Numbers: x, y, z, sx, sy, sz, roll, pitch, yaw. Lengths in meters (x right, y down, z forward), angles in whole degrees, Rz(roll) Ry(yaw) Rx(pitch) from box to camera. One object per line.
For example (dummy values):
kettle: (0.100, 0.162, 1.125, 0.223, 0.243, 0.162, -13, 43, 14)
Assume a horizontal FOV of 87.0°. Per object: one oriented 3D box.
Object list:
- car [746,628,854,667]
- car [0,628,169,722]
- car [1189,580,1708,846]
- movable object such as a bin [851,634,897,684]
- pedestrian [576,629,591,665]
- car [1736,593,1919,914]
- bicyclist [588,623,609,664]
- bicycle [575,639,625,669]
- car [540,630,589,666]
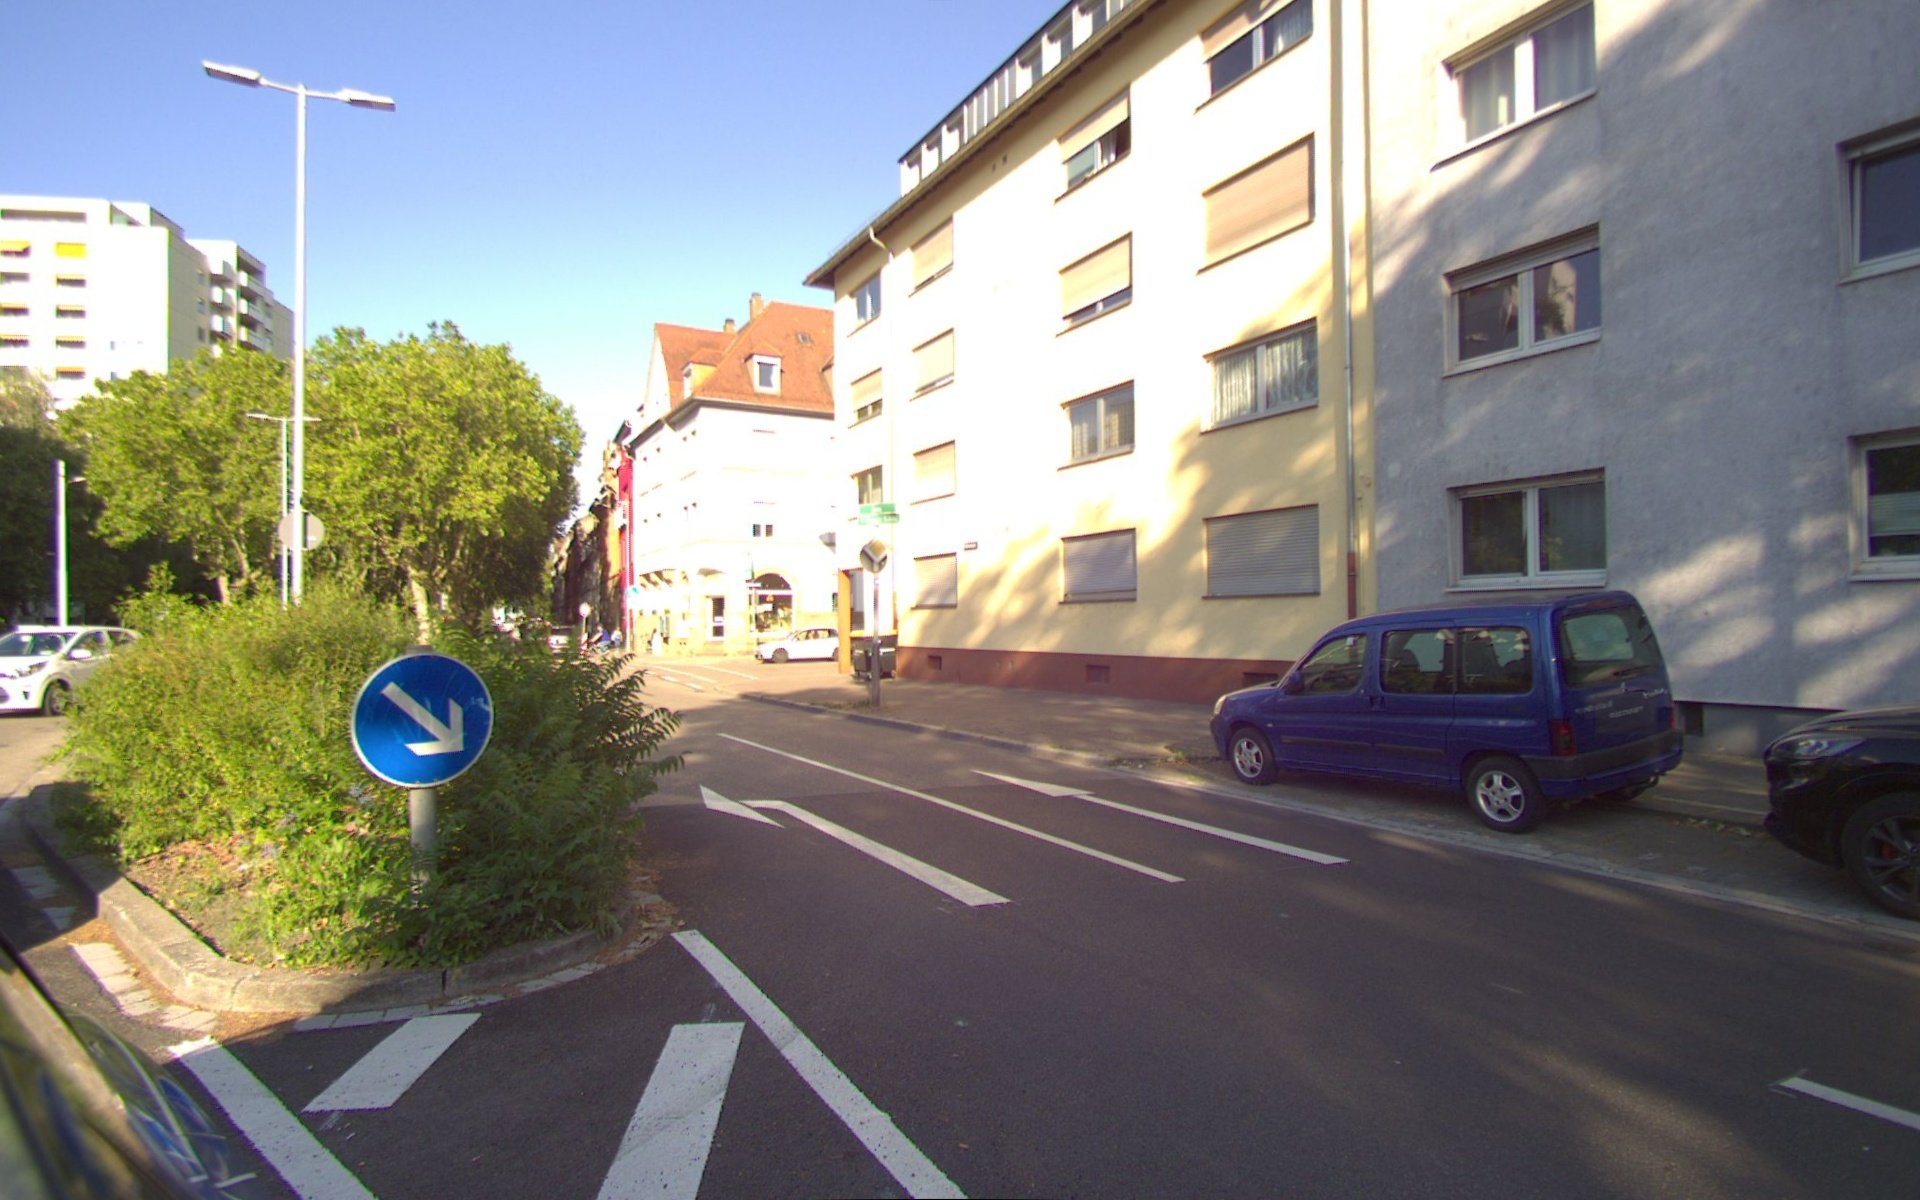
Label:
car: (-6.697, 1.973, 42.263, 4.133, 1.523, 1.807, 0, -2, -23)
car: (-15.797, 1.229, 17.563, 1.630, 1.465, 3.539, -1, -2, -6)
car: (4.114, 0.837, 9.262, 1.641, 1.832, 4.017, -2, -1, -28)
movable object such as a bin: (-2.329, 1.566, 27.271, 1.017, 1.296, 1.065, 0, -2, -19)
pedestrian: (-17.856, 2.222, 47.988, 0.662, 1.725, 0.715, 0, -2, -20)
car: (6.578, 0.766, 4.529, 1.879, 1.685, 4.507, -2, -1, -26)
bicyclist: (-14.140, 1.682, 39.572, 0.738, 1.565, 0.632, 0, -2, -20)
bicycle: (-14.066, 2.102, 39.583, 1.837, 1.098, 0.629, 0, -2, -21)
car: (-20.553, 2.462, 52.534, 1.867, 1.806, 4.012, 1, -2, -28)
